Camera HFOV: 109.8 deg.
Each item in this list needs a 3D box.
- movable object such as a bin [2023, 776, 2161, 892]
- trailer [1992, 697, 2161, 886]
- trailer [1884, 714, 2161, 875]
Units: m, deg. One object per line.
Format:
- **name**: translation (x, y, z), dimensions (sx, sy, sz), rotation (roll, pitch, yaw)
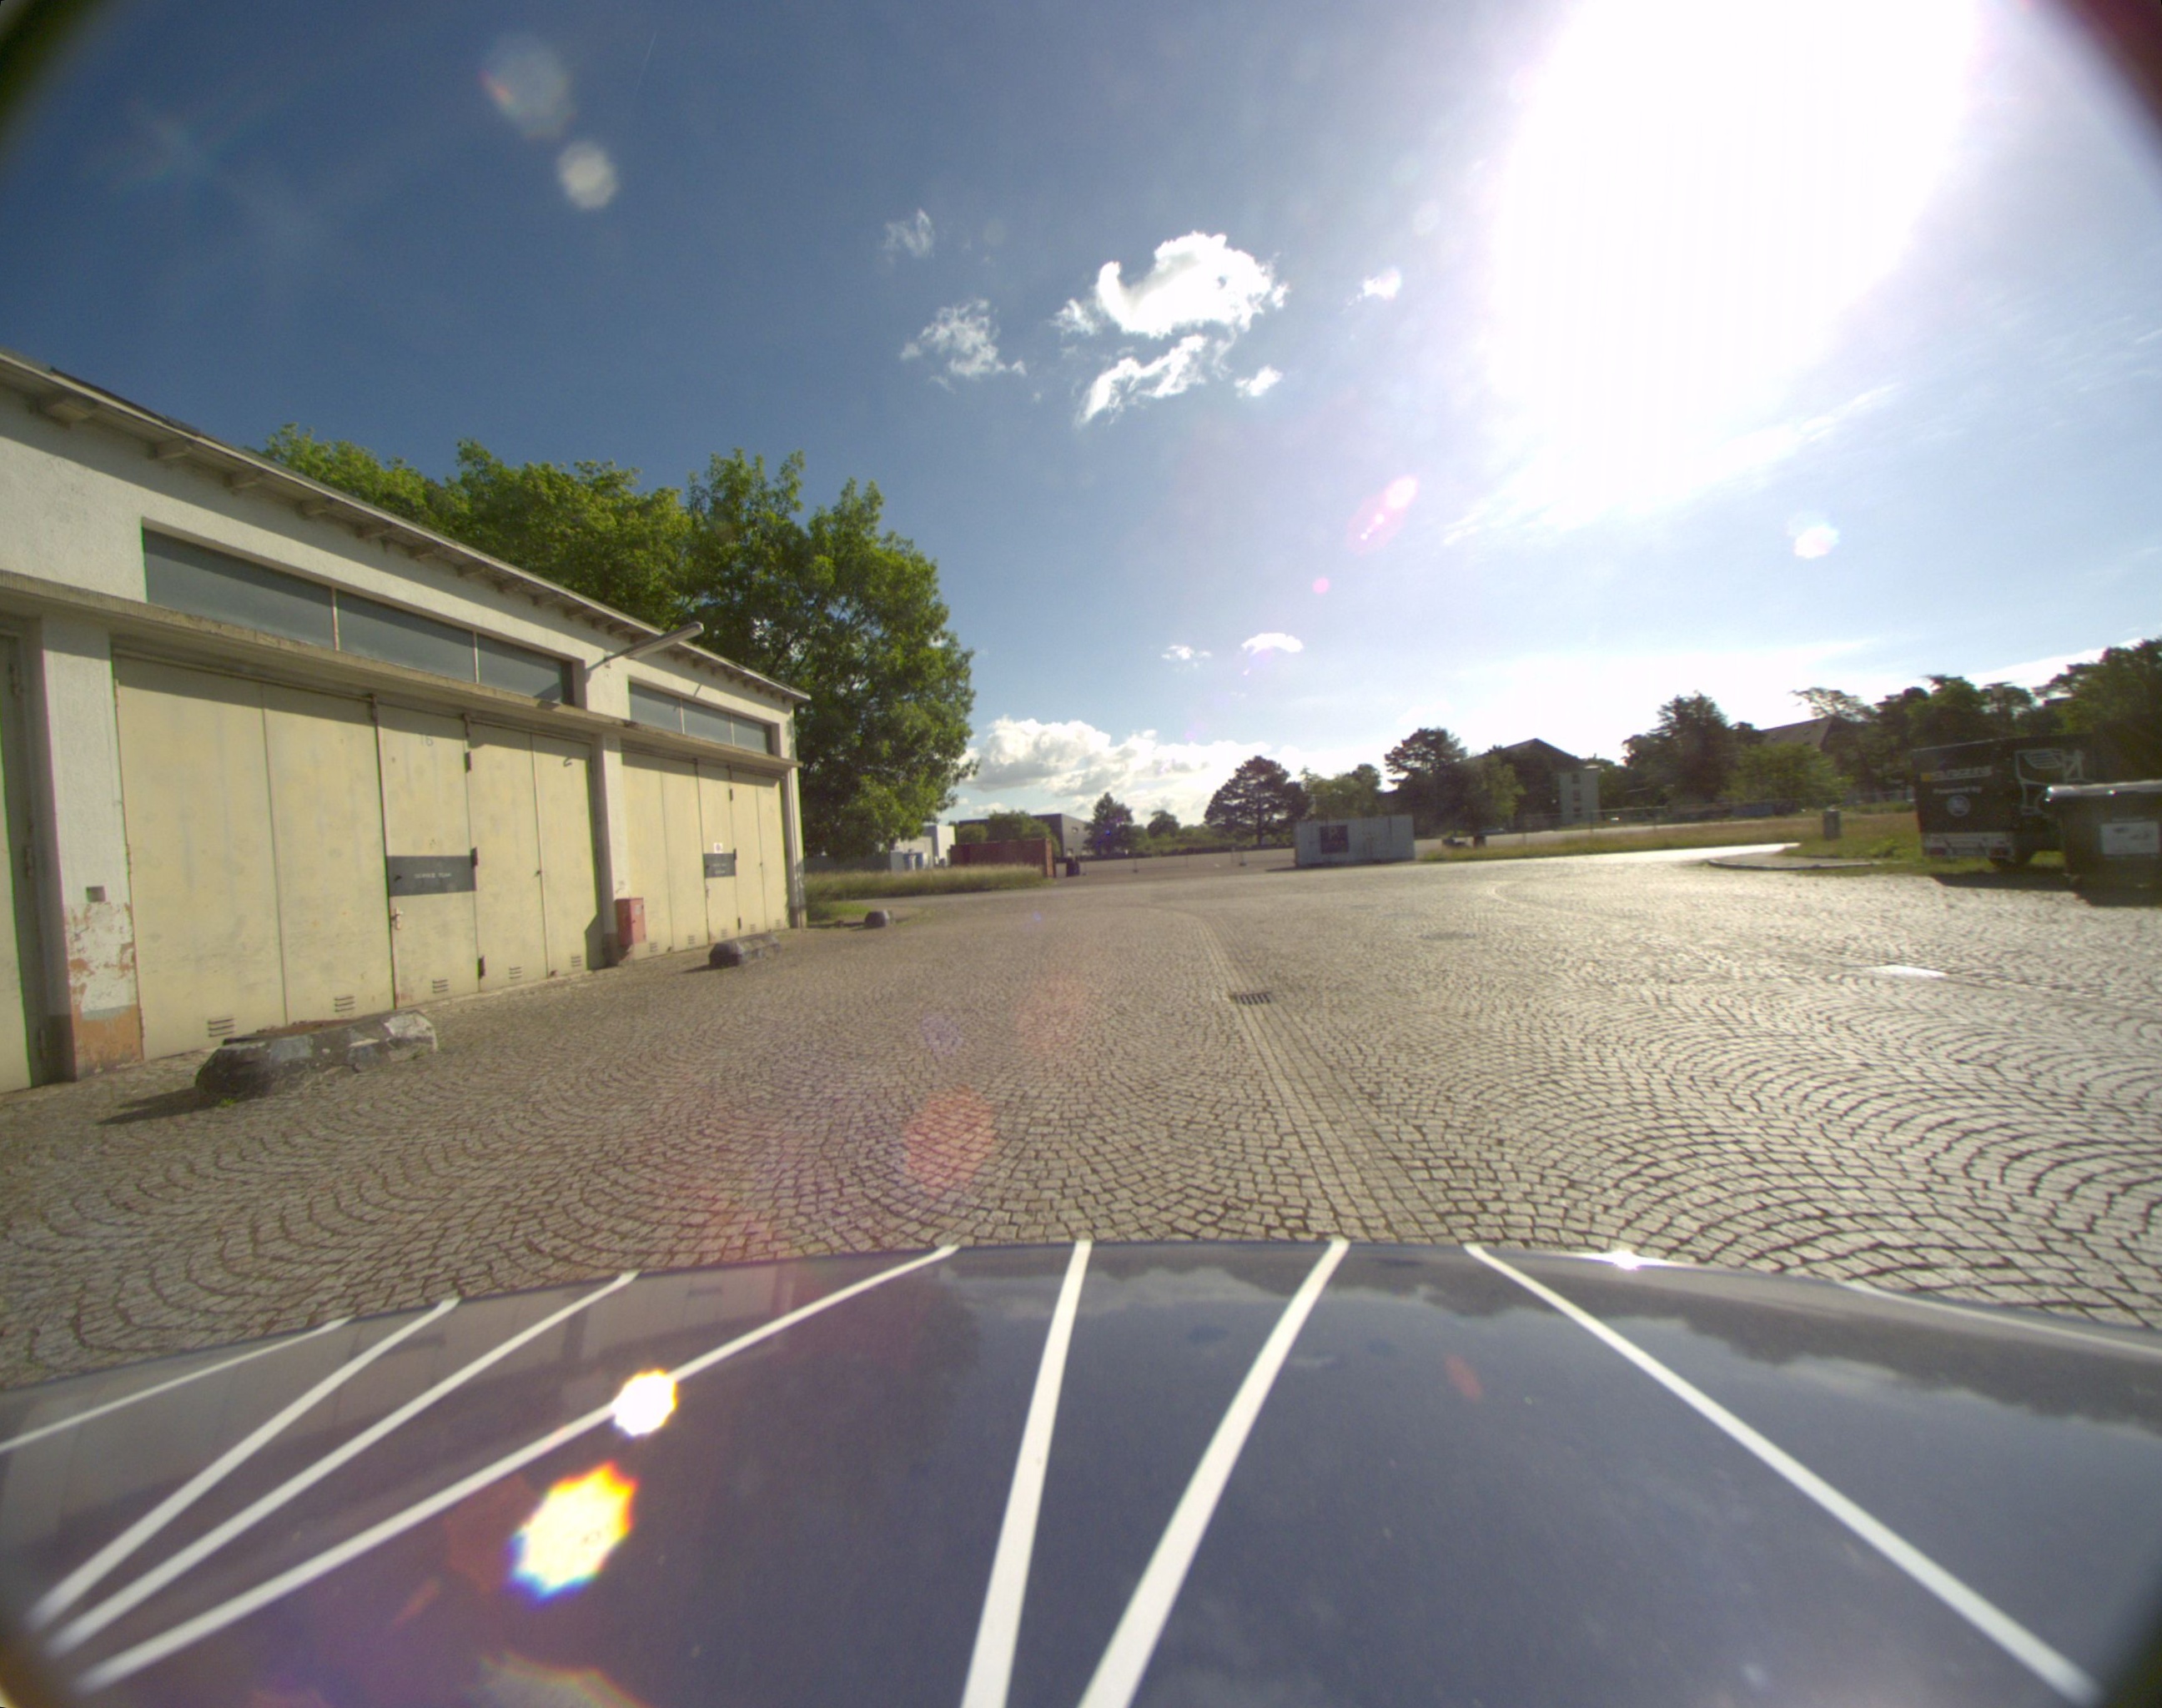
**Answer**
- **movable object such as a bin**: translation (14.019, -0.276, 10.324), dimensions (1.158, 1.449, 1.435), rotation (-6, 2, -41)
- **trailer**: translation (16.986, -1.059, 11.152), dimensions (4.647, 2.553, 1.951), rotation (-5, 1, 2)
- **trailer**: translation (17.274, -1.043, 13.588), dimensions (3.392, 2.456, 2.045), rotation (-5, 1, 7)
